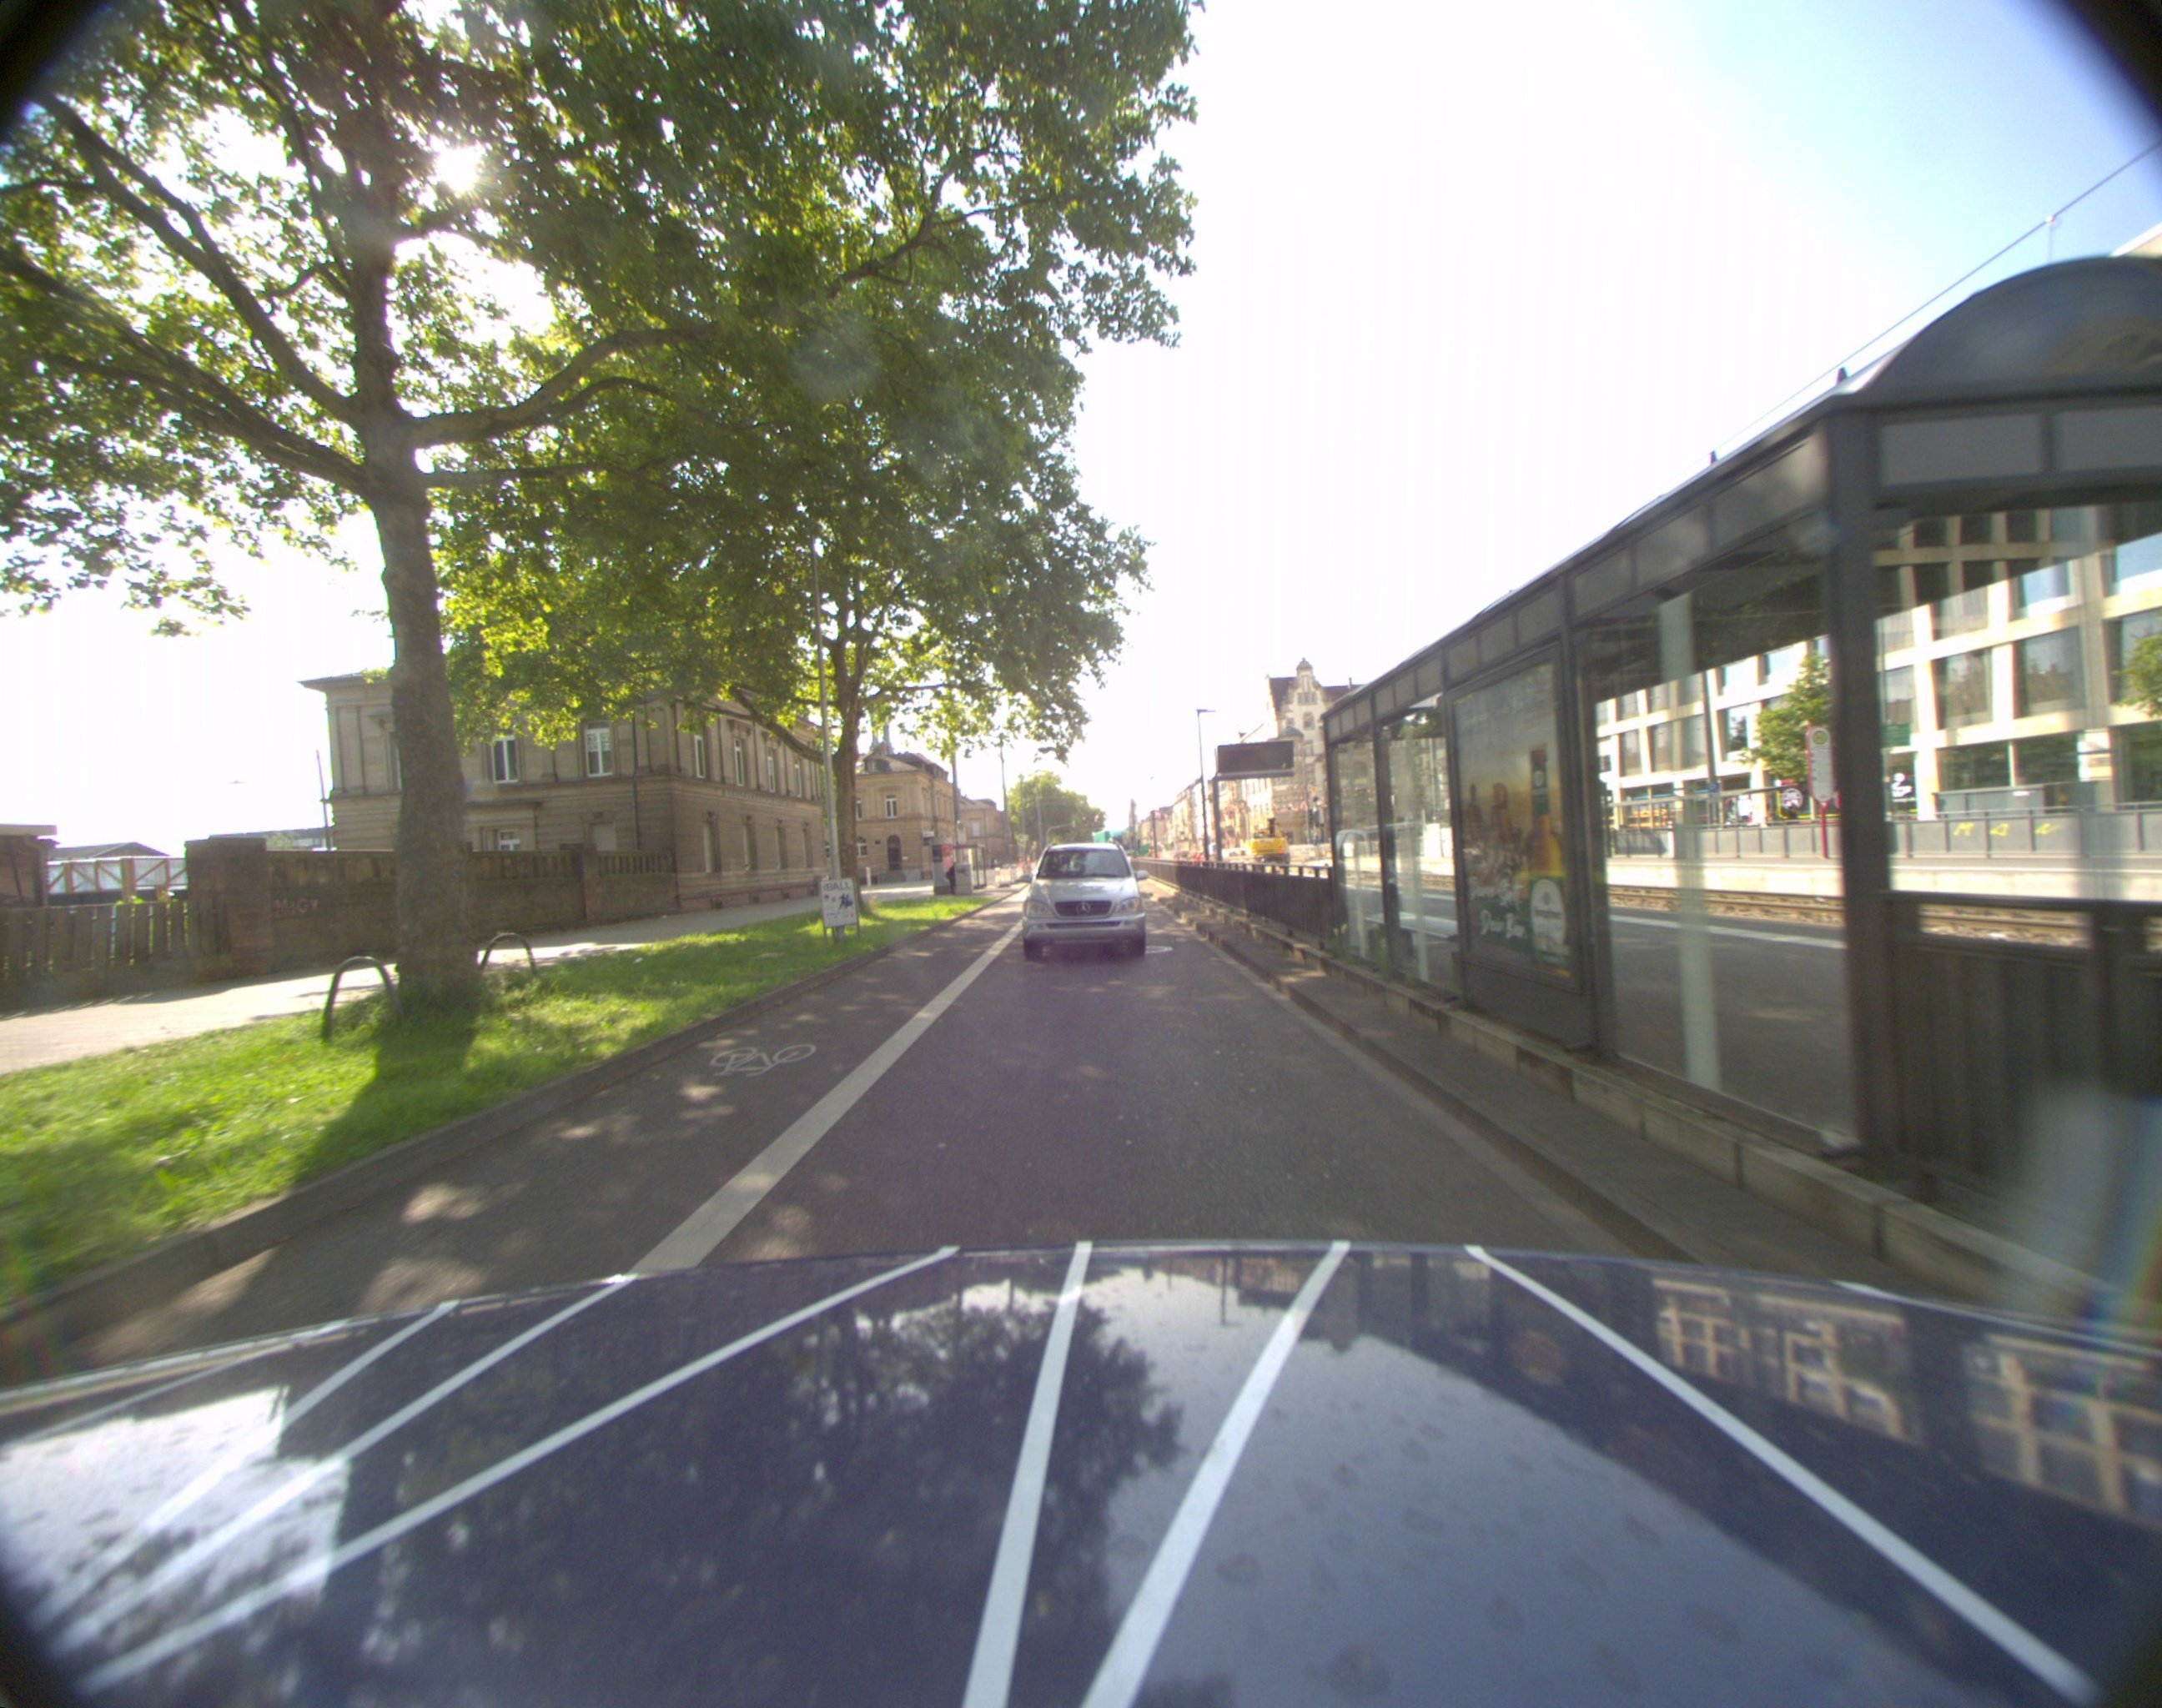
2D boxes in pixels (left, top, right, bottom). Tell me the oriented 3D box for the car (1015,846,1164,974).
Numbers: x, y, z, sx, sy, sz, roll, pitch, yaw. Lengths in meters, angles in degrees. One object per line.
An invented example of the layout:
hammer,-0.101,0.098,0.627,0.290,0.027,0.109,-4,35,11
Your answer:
car,0.156,0.788,13.311,1.998,1.685,5.225,-3,0,1

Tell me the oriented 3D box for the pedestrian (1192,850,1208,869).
pedestrian,8.582,0.427,54.694,0.838,1.299,0.800,-3,0,25

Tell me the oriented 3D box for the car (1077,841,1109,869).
car,1.244,0.141,80.101,2.232,2.713,5.166,-4,0,-10

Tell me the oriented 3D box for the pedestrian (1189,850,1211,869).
pedestrian,8.722,0.408,55.642,1.313,1.299,0.800,-3,0,25

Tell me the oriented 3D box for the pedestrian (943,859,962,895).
pedestrian,-6.145,1.087,36.431,0.690,1.687,0.648,-3,0,-20

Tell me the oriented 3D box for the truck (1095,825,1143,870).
truck,3.313,-0.532,68.597,2.682,3.656,8.209,-4,0,-8

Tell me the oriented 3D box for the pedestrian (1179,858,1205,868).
pedestrian,8.665,0.686,59.166,1.906,0.632,0.913,-4,0,5

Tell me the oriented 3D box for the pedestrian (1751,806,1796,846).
pedestrian,32.177,-1.290,35.329,0.978,1.742,1.123,-3,0,1

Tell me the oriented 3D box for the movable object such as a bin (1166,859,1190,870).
movable object such as a bin,6.902,0.741,54.151,1.507,0.649,0.702,-4,0,22

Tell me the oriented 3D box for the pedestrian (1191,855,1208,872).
pedestrian,8.872,0.721,57.032,0.983,1.183,0.800,-3,0,25

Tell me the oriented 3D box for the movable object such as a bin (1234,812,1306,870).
movable object such as a bin,14.980,-0.996,59.586,3.507,3.989,9.055,-3,0,25

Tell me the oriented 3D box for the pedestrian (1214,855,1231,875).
pedestrian,10.007,0.767,53.923,1.017,1.299,0.983,-3,0,5

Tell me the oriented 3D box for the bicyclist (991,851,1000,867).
bicyclist,-8.624,0.506,76.817,0.719,1.534,0.955,-4,0,-1

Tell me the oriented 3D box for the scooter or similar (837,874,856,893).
scooter or similar,-15.302,1.928,49.561,0.421,1.202,1.257,-4,-2,24

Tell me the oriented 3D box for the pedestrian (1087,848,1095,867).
pedestrian,1.064,0.357,81.833,0.735,2.002,0.907,-3,1,7

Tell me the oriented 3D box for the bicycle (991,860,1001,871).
bicycle,-8.585,1.128,76.751,0.719,1.036,1.903,-4,0,-1

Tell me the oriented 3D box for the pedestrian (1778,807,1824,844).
pedestrian,33.225,-1.299,35.095,0.978,1.588,1.123,-3,0,1

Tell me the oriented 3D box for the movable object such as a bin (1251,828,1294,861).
movable object such as a bin,21.049,-1.042,83.959,2.853,3.310,8.347,-3,0,3
